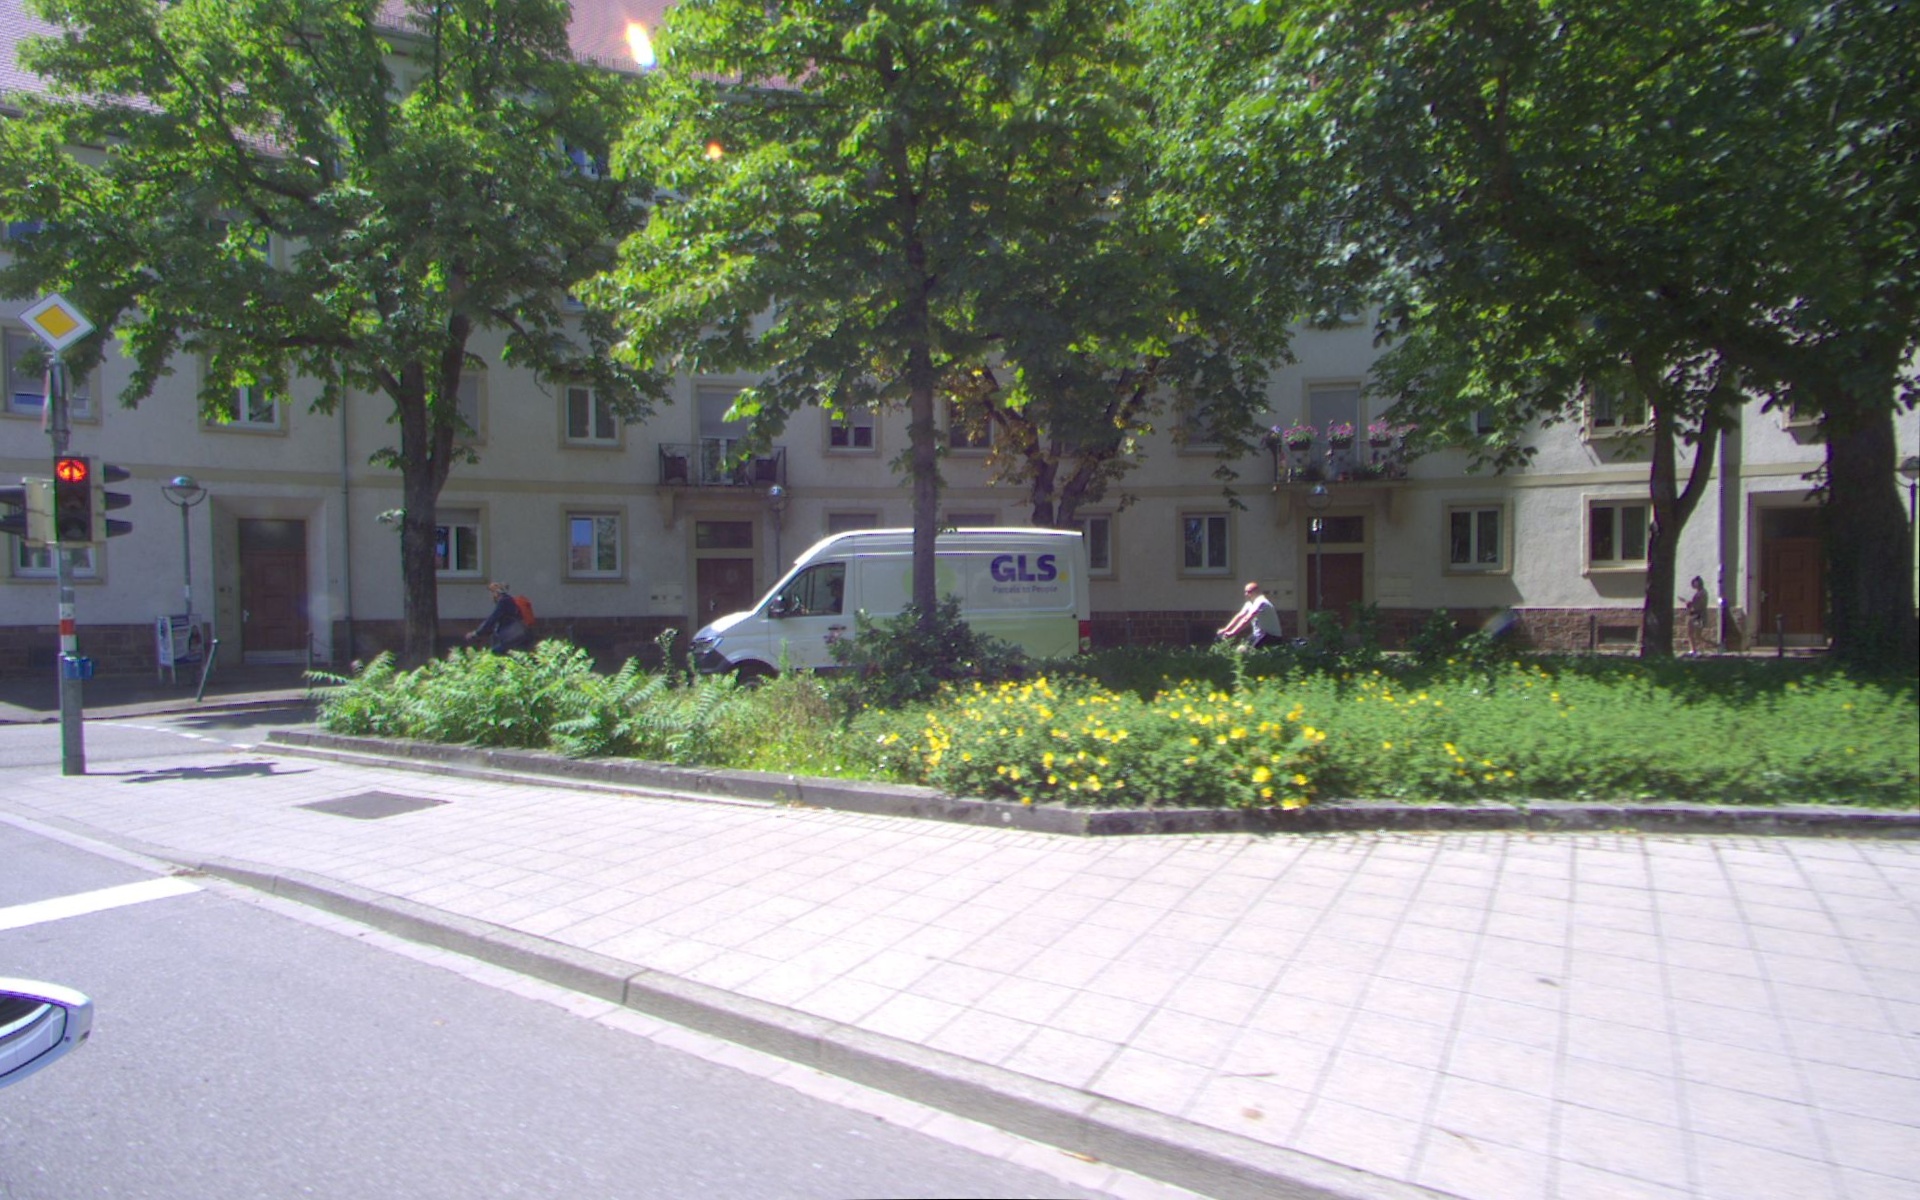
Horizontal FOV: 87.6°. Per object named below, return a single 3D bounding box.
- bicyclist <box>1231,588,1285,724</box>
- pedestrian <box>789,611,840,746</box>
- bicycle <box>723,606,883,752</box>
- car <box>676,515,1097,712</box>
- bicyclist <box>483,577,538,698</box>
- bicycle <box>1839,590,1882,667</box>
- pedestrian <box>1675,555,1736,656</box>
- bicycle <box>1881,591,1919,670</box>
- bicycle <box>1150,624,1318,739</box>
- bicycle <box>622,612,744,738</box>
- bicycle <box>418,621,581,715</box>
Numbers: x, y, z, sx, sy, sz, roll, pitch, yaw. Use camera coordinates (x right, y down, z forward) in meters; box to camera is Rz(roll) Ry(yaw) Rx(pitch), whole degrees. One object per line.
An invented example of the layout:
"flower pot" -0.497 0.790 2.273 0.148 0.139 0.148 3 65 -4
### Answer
"bicyclist" 4.073 0.752 13.701 0.524 1.823 0.604 0 0 -4
"pedestrian" -1.450 0.767 9.959 0.345 1.301 0.365 0 0 32
"bicycle" -1.604 0.758 10.050 1.809 1.377 0.351 -1 0 33
"car" -1.046 0.190 14.695 5.738 2.623 2.000 0 0 -7
"bicyclist" -6.360 0.519 14.189 0.684 1.667 0.578 0 0 -24
"bicycle" 16.800 0.525 18.674 0.510 1.362 2.307 -1 -1 44
"pedestrian" 15.356 0.128 20.648 0.759 2.040 0.807 0 0 16
"bicycle" 17.180 0.534 18.251 0.510 1.365 2.223 -1 -1 44
"bicycle" 3.719 1.089 13.667 2.126 1.505 0.593 0 0 -5
"bicycle" -2.646 0.705 9.522 1.269 1.141 0.332 -2 -1 32
"bicycle" -6.460 0.930 14.137 2.054 1.252 0.578 0 0 -25
